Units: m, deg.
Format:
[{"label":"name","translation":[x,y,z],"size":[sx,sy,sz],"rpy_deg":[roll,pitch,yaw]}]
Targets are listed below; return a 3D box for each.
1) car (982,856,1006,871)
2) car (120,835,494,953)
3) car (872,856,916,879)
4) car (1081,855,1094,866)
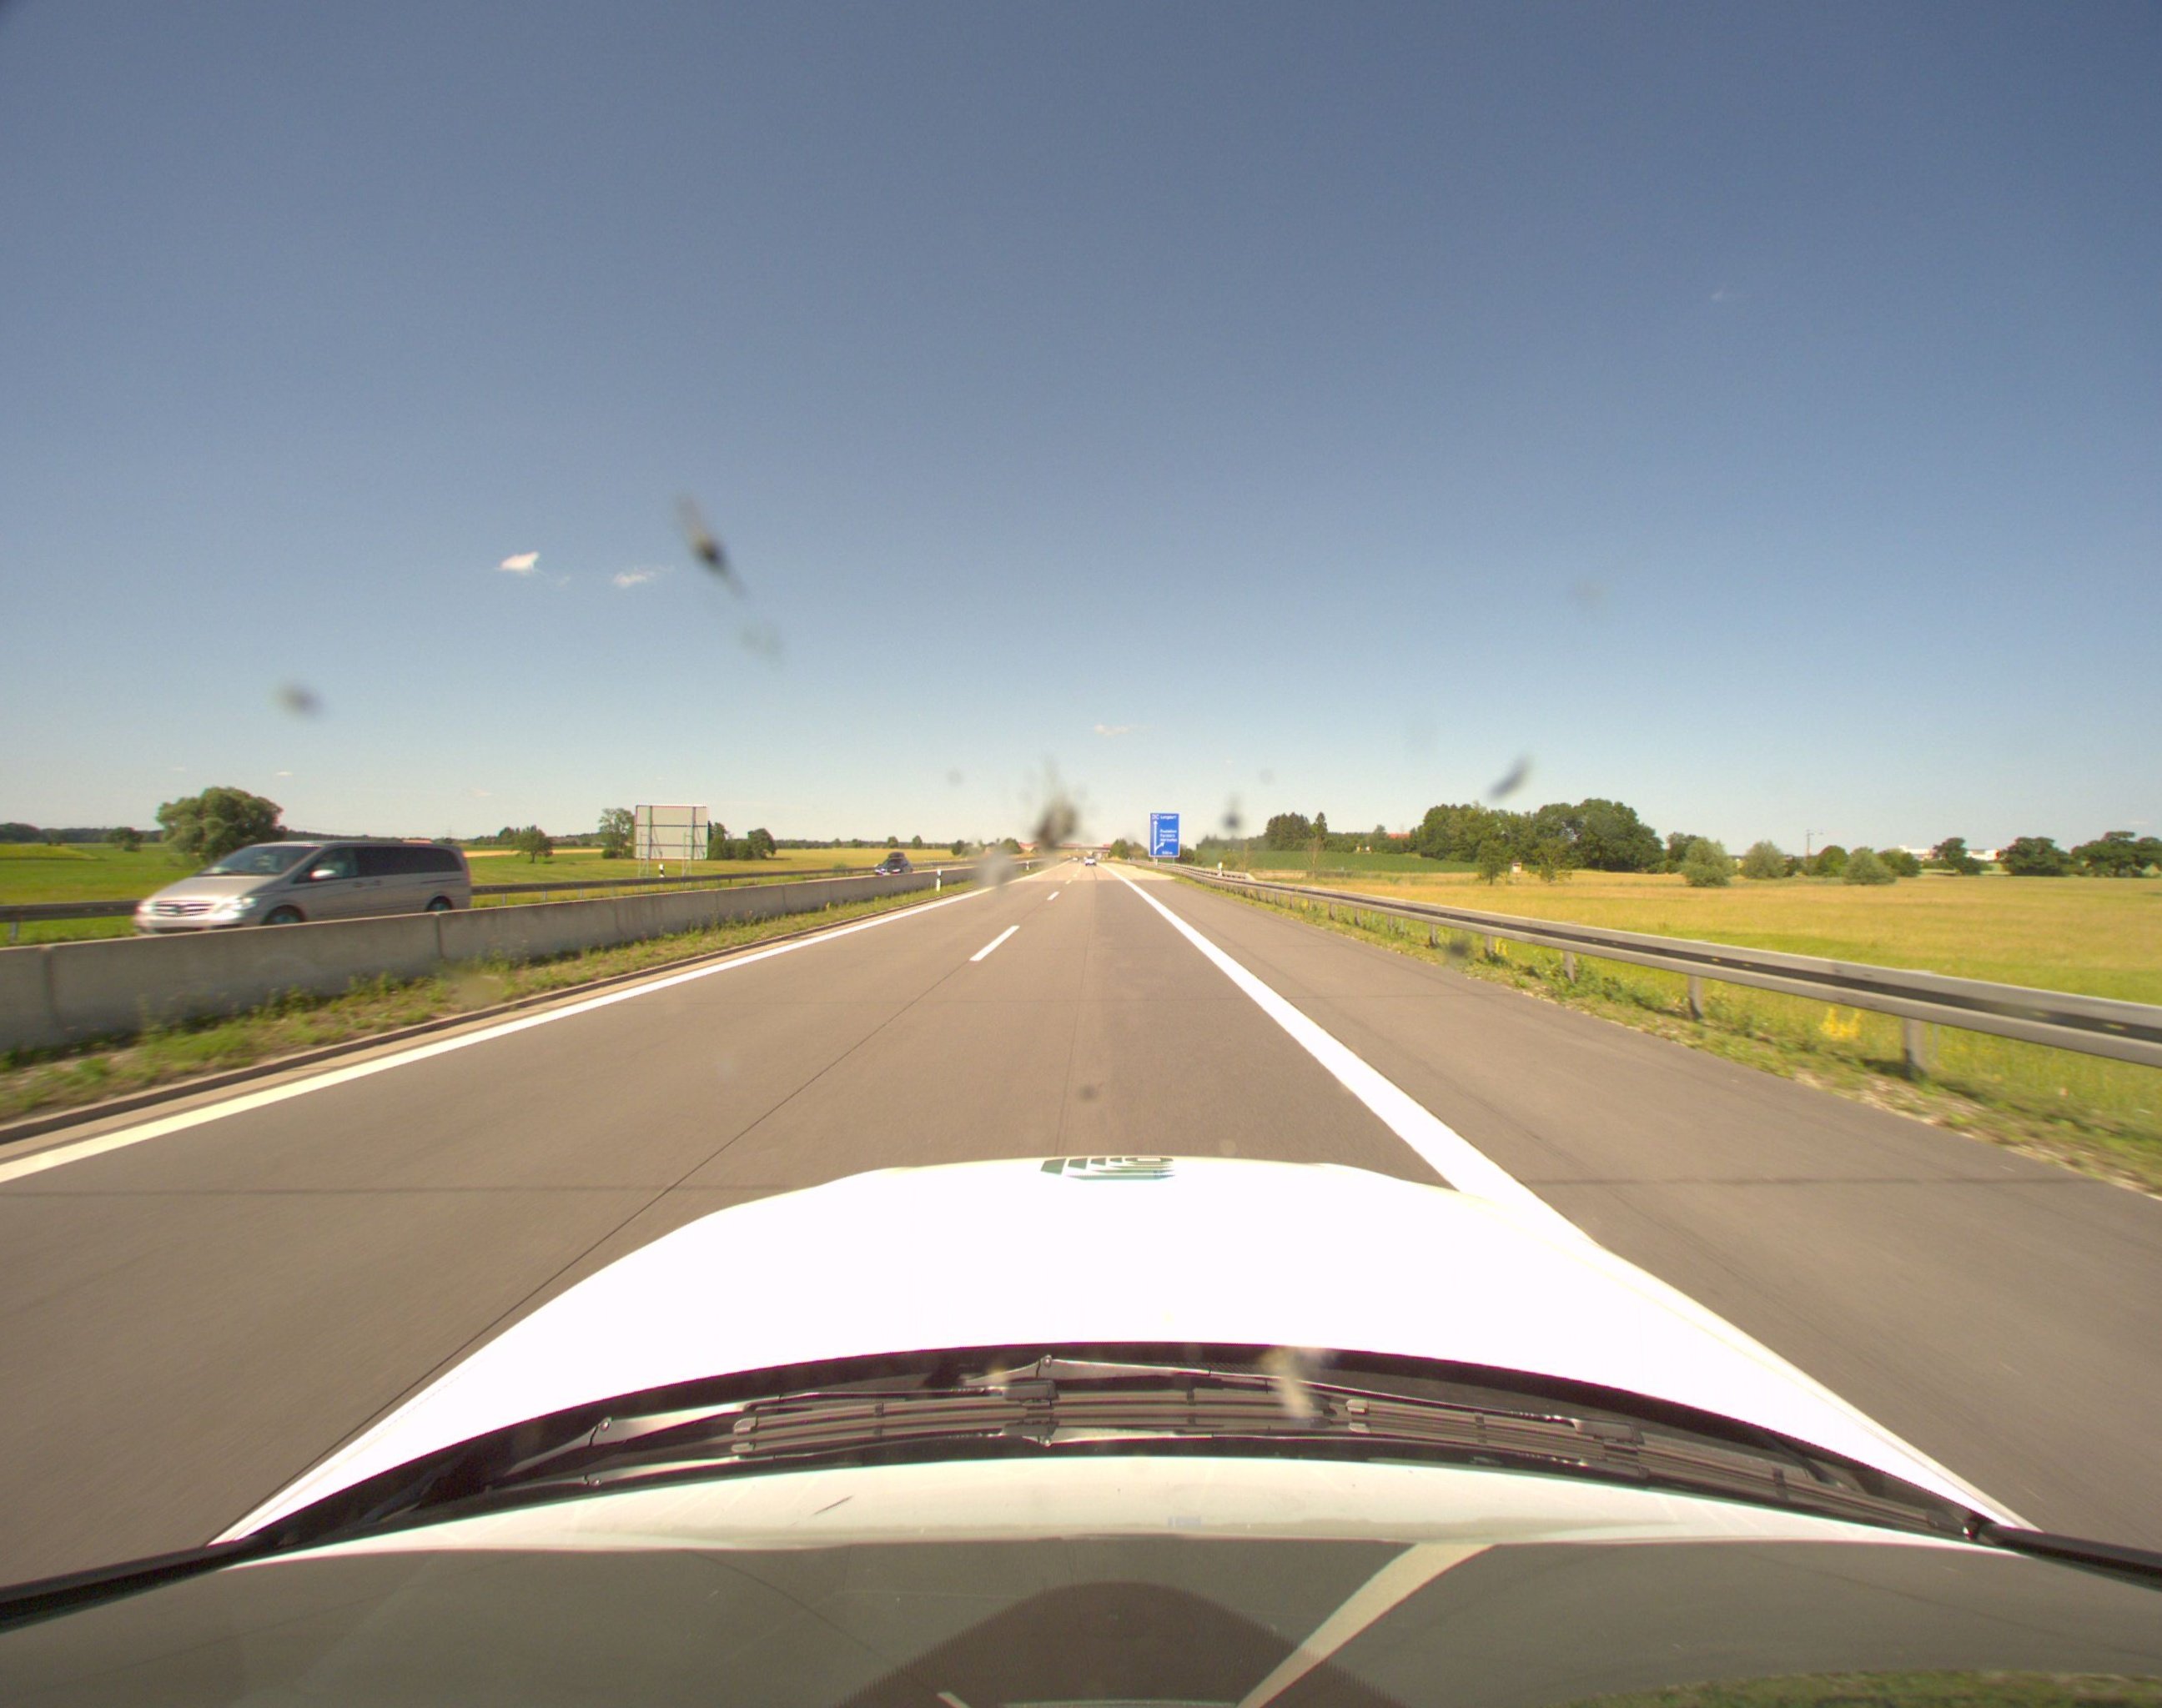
[{"label":"car","translation":[-9.071,0.977,85.347],"size":[1.891,1.523,4.806],"rpy_deg":[-1,0,1]},{"label":"car","translation":[-14.332,0.645,15.742],"size":[1.947,1.842,5.450],"rpy_deg":[-1,0,1]},{"label":"car","translation":[-13.281,0.953,58.134],"size":[1.891,1.523,4.806],"rpy_deg":[-1,0,1]},{"label":"car","translation":[1.081,1.046,136.004],"size":[1.988,1.731,4.866],"rpy_deg":[0,0,-1]}]
